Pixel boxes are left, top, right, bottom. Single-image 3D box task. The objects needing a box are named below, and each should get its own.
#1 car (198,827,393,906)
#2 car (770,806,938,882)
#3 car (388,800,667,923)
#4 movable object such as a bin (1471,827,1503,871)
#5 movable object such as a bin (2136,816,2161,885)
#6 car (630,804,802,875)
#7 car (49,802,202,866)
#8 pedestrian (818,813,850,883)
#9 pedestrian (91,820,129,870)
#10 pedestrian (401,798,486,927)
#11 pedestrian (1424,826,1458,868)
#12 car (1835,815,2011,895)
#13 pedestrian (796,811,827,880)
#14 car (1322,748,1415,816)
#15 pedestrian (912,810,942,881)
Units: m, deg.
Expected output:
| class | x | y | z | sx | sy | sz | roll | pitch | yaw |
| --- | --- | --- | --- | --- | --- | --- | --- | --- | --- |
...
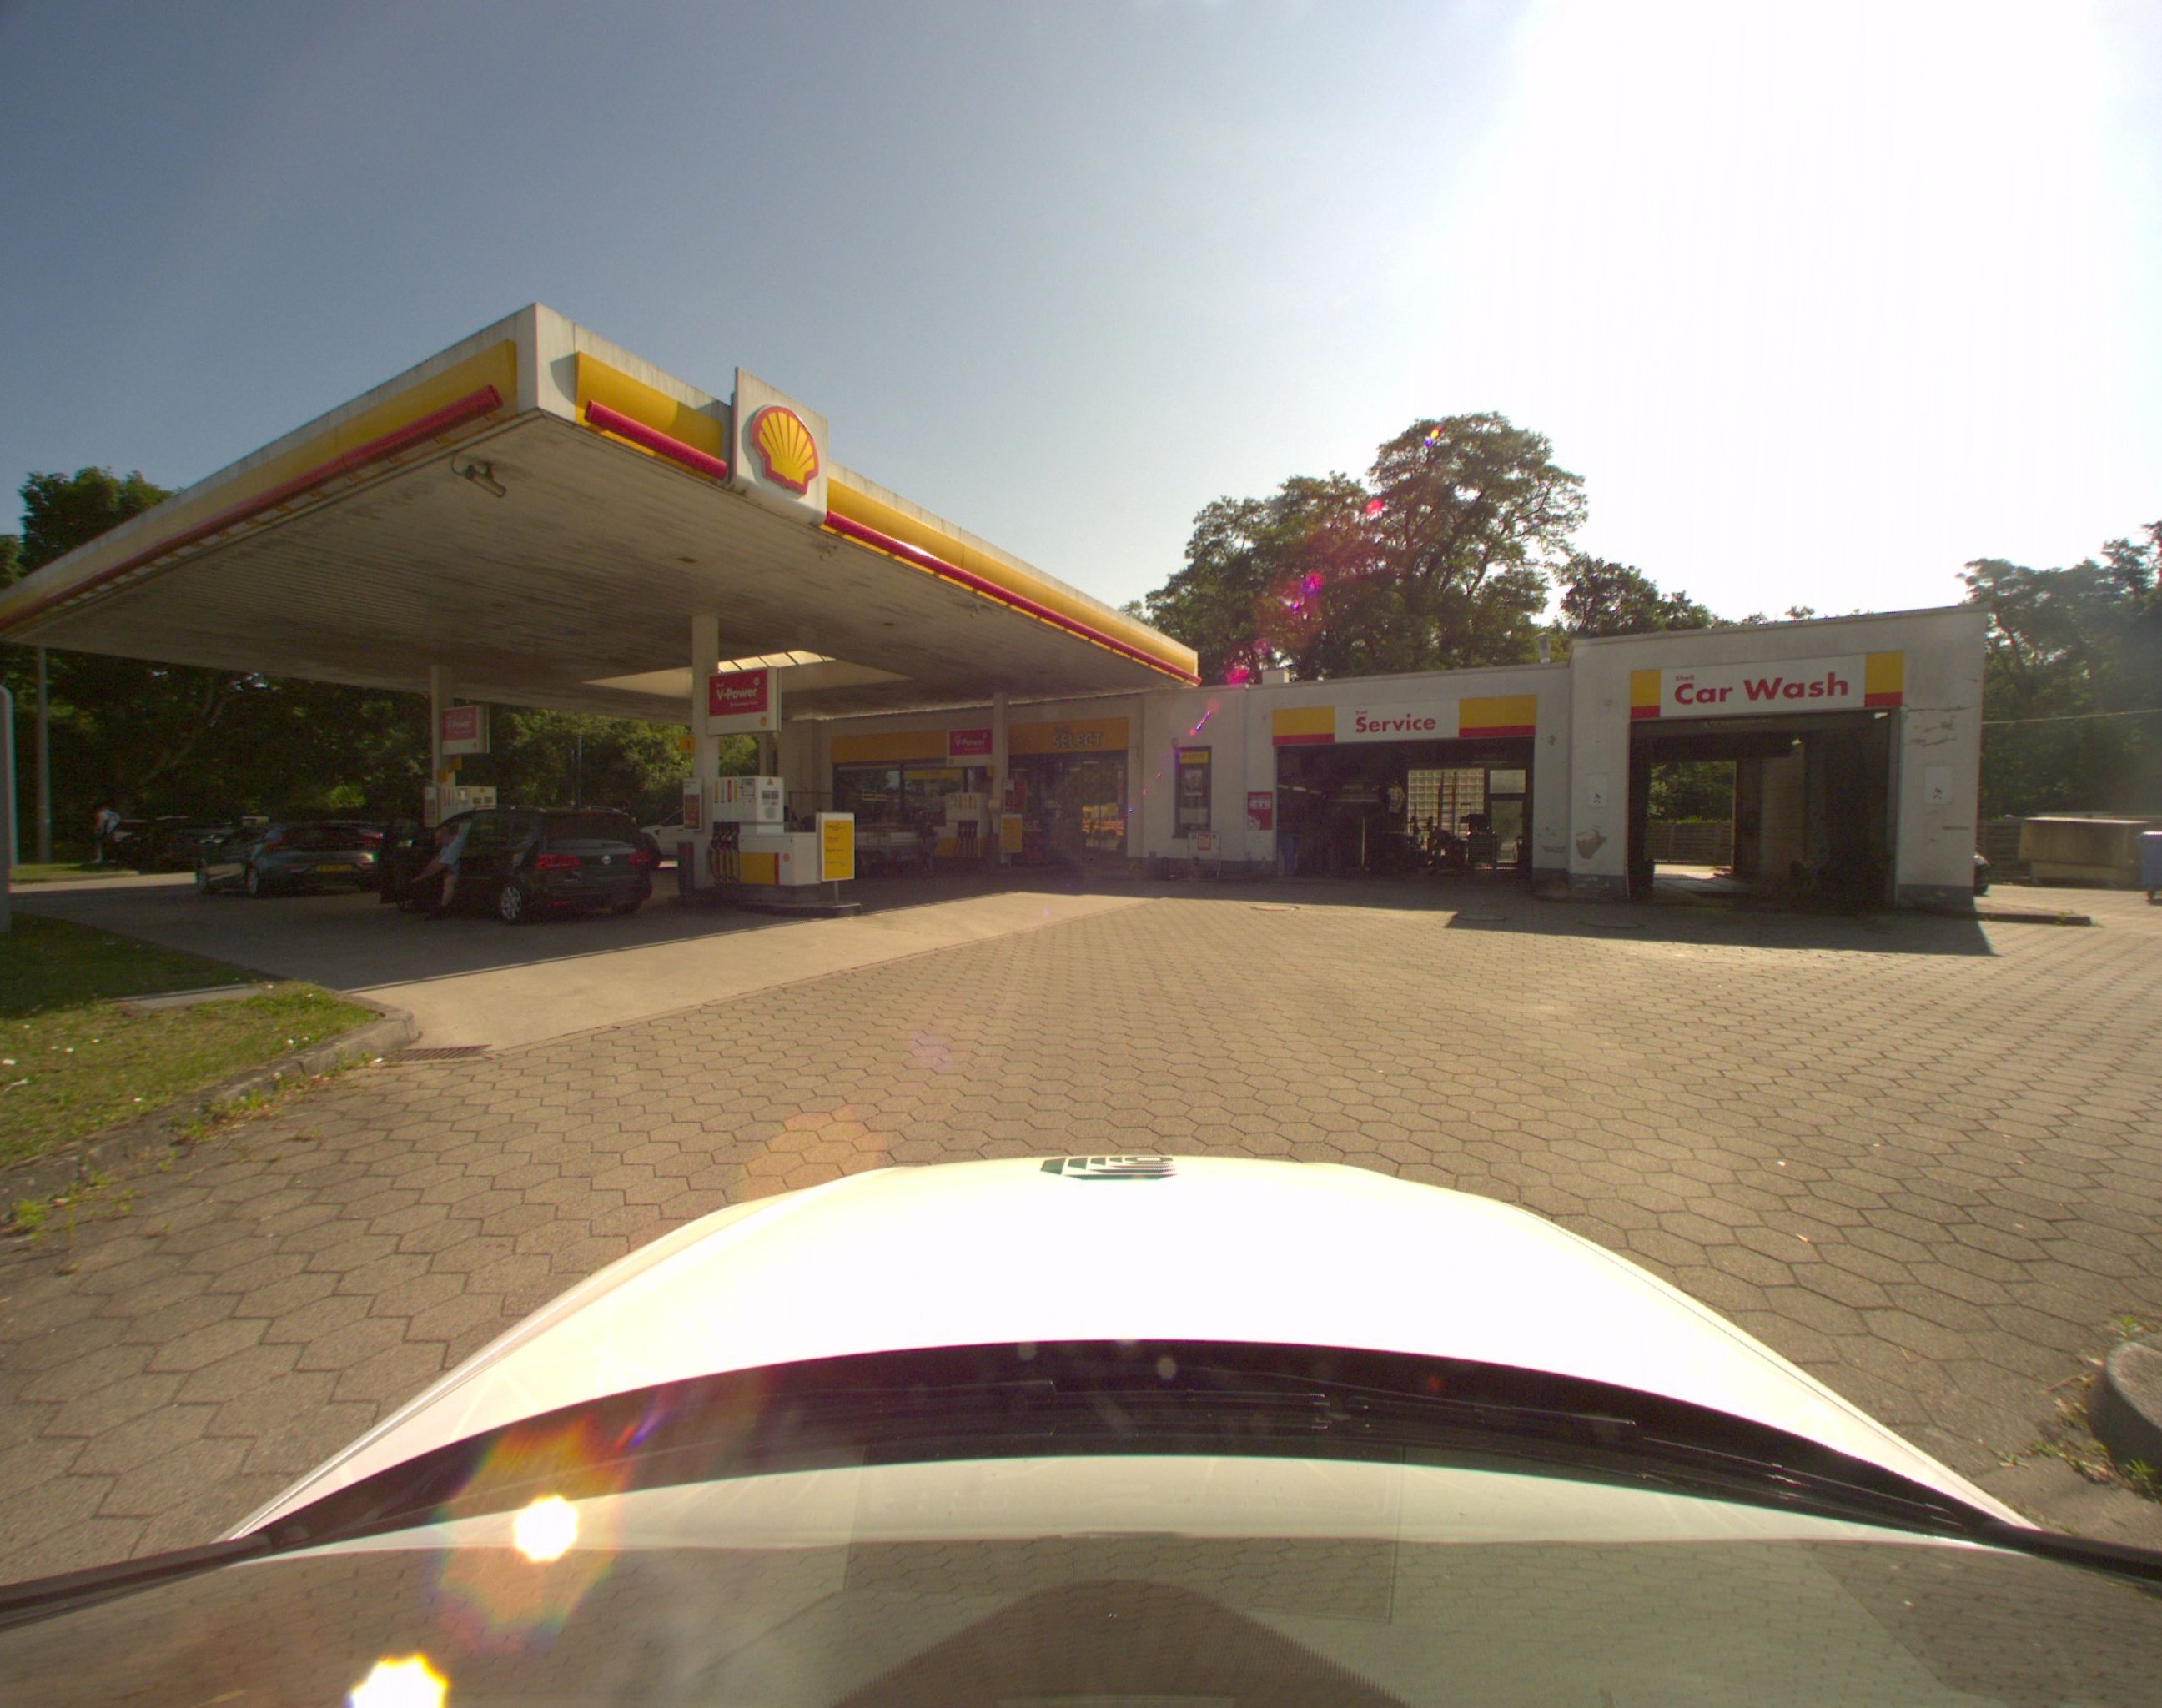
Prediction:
| class | x | y | z | sx | sy | sz | roll | pitch | yaw |
| --- | --- | --- | --- | --- | --- | --- | --- | --- | --- |
| car | -15.349 | 0.165 | 15.884 | 3.799 | 1.360 | 1.815 | 1 | 2 | 32 |
| car | -5.690 | -0.261 | 20.343 | 3.948 | 1.727 | 1.845 | 0 | 2 | 32 |
| car | -8.234 | 0.048 | 12.106 | 3.829 | 1.578 | 1.776 | 1 | 2 | 27 |
| movable object such as a bin | 11.665 | -0.155 | 23.388 | 0.789 | 1.236 | 0.548 | 0 | 0 | 31 |
| movable object such as a bin | 21.241 | -0.055 | 15.474 | 0.849 | 1.325 | 1.228 | -1 | 2 | -18 |
| car | -10.338 | -0.432 | 22.999 | 4.720 | 1.837 | 1.869 | 1 | 2 | 27 |
| car | -28.447 | -0.551 | 24.246 | 3.950 | 1.765 | 2.012 | 0 | 0 | 26 |
| pedestrian | -5.788 | -0.147 | 19.077 | 0.469 | 1.593 | 0.504 | 1 | 2 | 32 |
| pedestrian | -30.734 | -0.294 | 25.785 | 0.388 | 1.536 | 0.682 | 1 | 2 | 33 |
| pedestrian | -8.932 | 0.103 | 11.415 | 0.801 | 1.729 | 0.678 | 1 | 2 | 33 |
| pedestrian | 10.464 | -0.192 | 23.639 | 0.855 | 1.198 | 0.747 | 0 | 0 | 28 |
| car | 18.356 | 0.022 | 17.943 | 1.705 | 1.575 | 3.413 | 0 | 0 | 27 |
| pedestrian | -6.485 | -0.203 | 19.574 | 0.469 | 1.631 | 0.504 | 1 | 2 | 32 |
| car | 7.918 | -1.868 | 22.202 | 1.631 | 1.486 | 4.025 | 0 | 0 | 31 |
| pedestrian | -3.672 | -0.207 | 19.422 | 0.494 | 1.668 | 0.479 | 1 | 2 | 30 |
